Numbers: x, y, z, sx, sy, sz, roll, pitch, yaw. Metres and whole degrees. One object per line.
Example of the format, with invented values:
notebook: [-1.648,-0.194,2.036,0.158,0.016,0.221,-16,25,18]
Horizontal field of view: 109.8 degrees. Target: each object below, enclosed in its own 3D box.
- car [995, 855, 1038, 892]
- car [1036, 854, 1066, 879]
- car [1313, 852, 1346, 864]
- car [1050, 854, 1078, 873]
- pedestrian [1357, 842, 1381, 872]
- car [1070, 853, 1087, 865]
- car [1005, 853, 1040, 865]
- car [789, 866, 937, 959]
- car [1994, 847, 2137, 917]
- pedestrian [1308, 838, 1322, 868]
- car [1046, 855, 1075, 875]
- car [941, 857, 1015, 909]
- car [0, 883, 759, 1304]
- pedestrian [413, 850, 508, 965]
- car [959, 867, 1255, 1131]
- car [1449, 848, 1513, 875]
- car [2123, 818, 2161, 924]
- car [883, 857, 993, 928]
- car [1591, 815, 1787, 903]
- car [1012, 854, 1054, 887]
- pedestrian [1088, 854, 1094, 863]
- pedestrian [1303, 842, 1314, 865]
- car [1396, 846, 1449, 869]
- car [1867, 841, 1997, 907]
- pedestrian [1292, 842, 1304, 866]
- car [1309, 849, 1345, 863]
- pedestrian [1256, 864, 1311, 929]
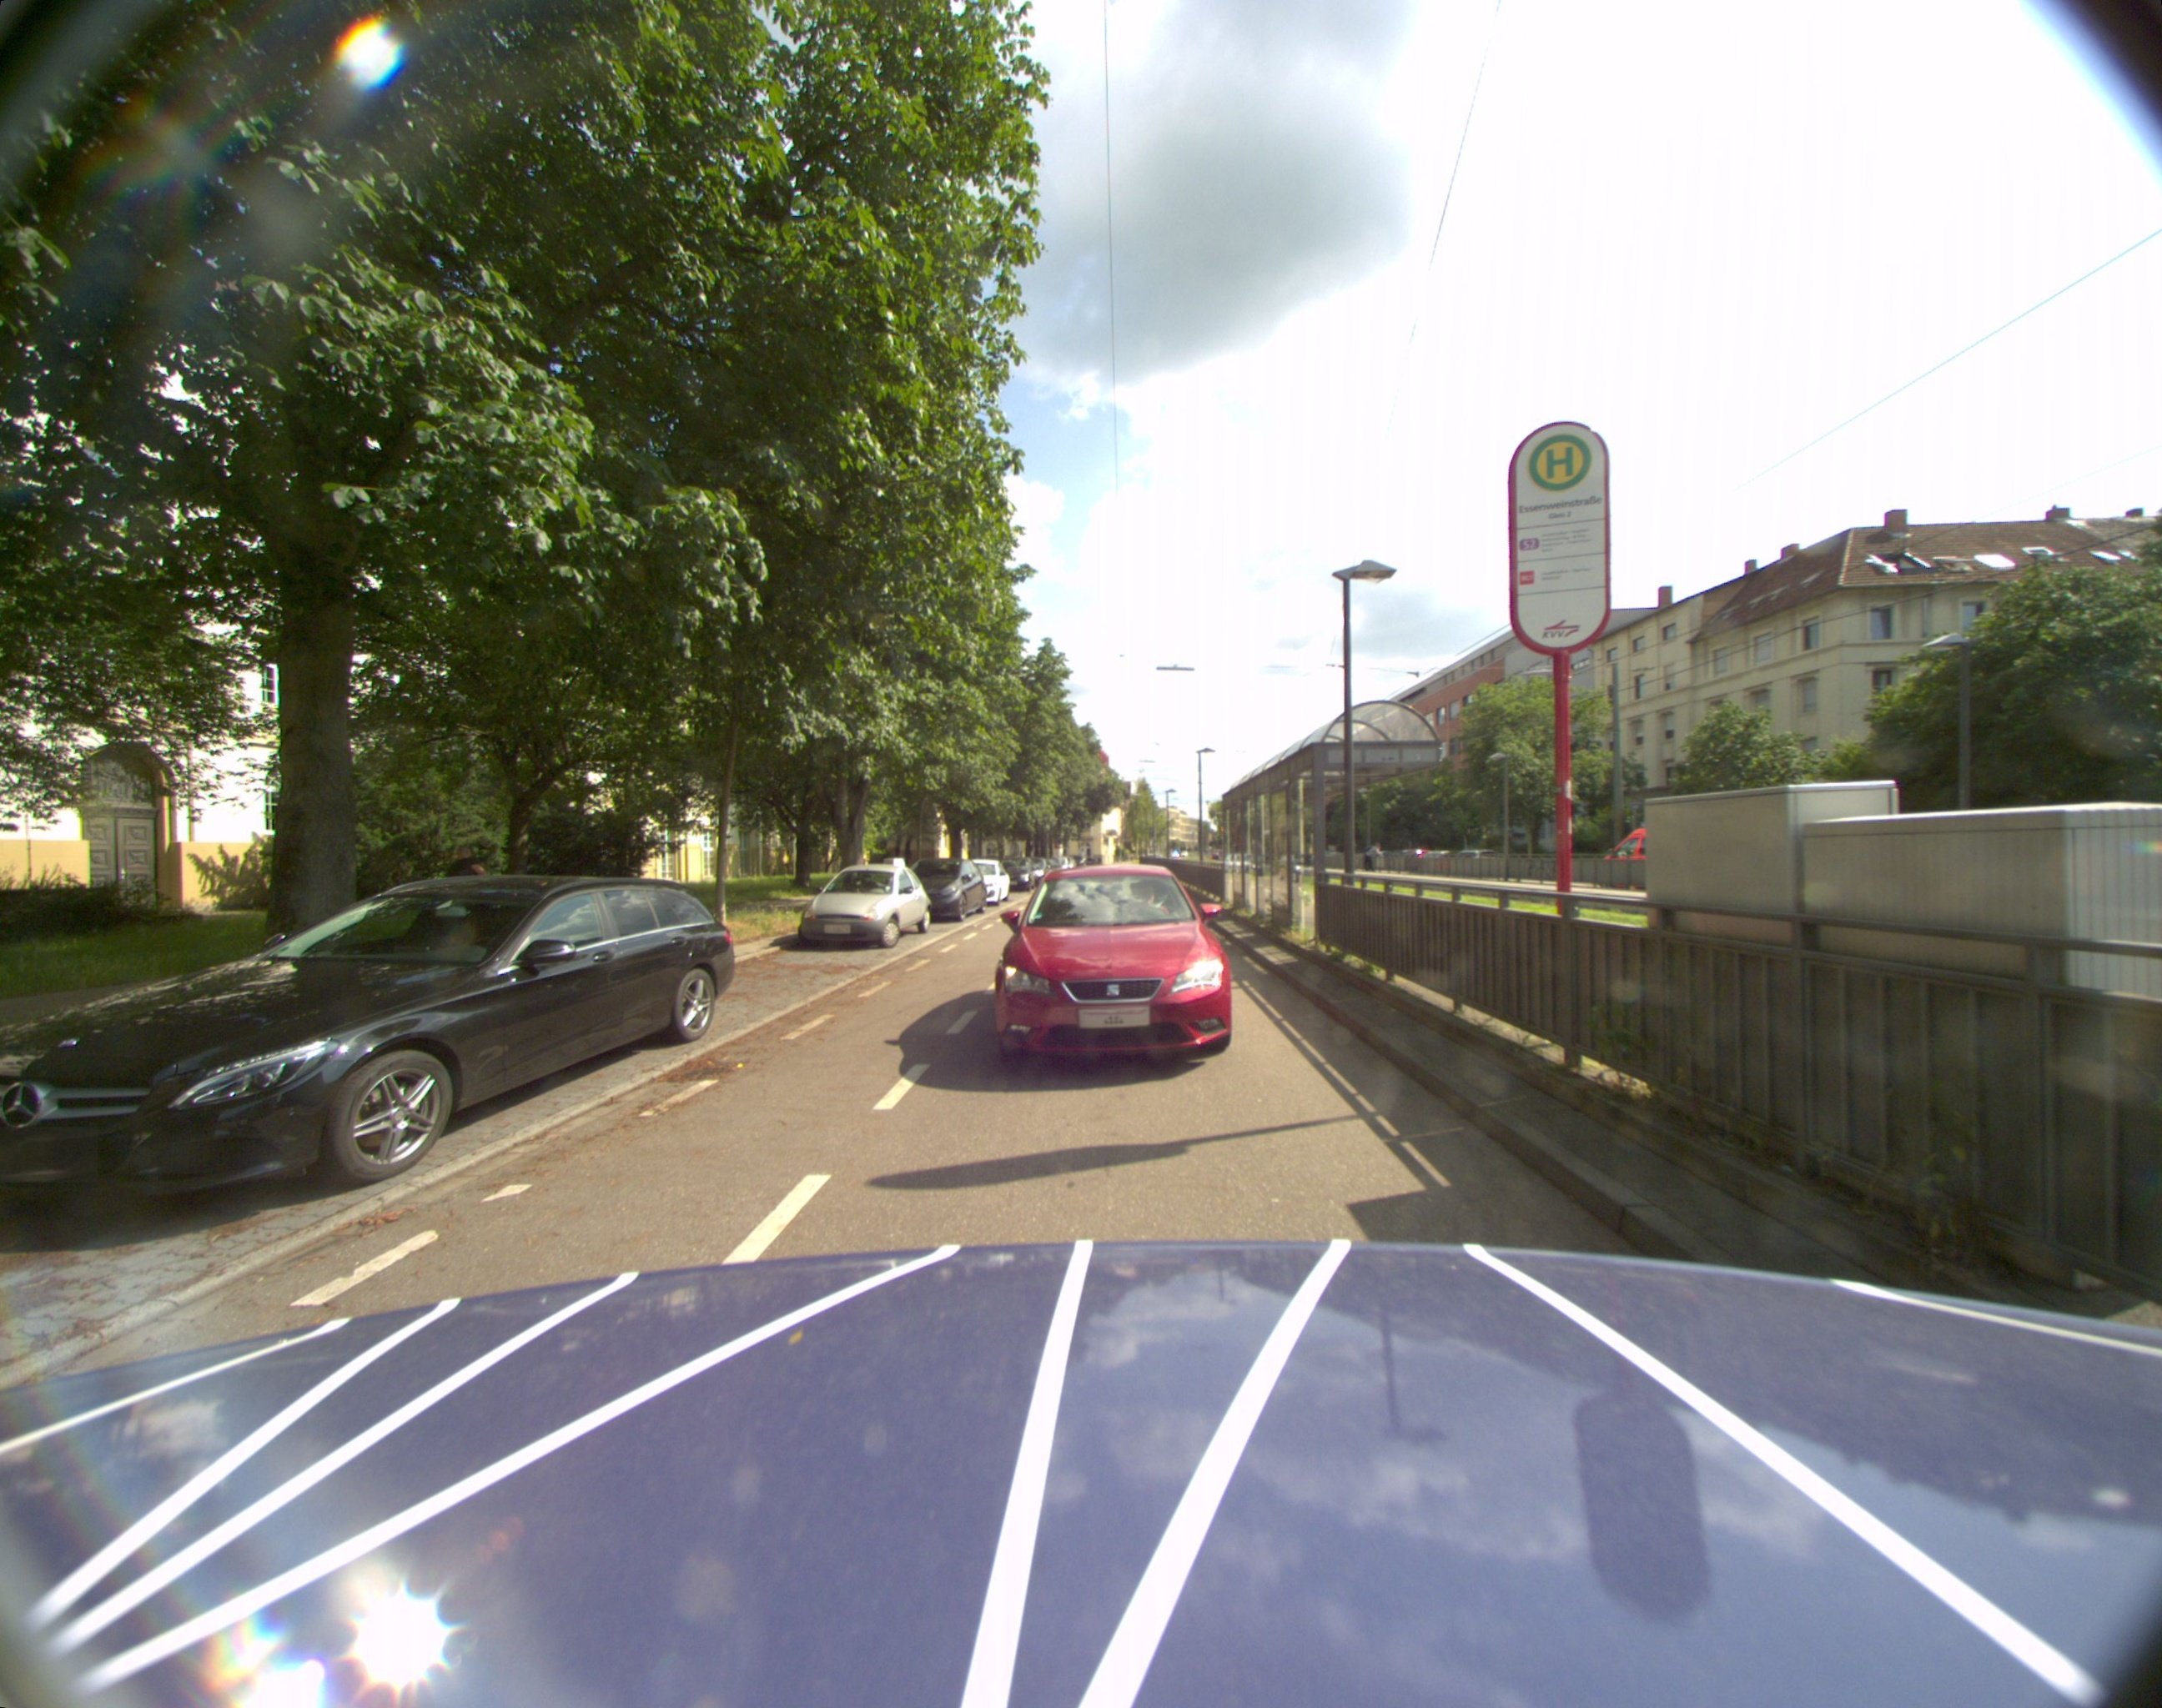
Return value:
car: [-2.831,0.846,34.130,1.559,1.453,3.558,2,1,0]
car: [-1.943,0.794,50.904,1.836,1.458,4.829,1,1,-1]
car: [26.292,0.422,80.312,3.258,1.296,1.600,-1,0,-32]
car: [-1.334,0.723,62.042,1.833,1.433,5.050,2,0,3]
pedestrian: [15.625,0.156,41.276,0.991,1.569,0.798,-1,1,0]
car: [-0.267,0.549,89.272,1.689,1.379,3.924,0,1,3]
car: [-8.578,0.695,111.406,4.827,1.646,1.858,-1,2,13]
car: [-3.965,0.995,14.410,1.594,1.437,3.598,1,1,3]
car: [23.521,0.602,18.128,4.006,1.477,1.606,-1,0,-30]
pedestrian: [15.458,-0.070,50.241,0.752,1.881,0.639,-1,3,5]
car: [-1.477,0.815,56.833,1.639,1.423,4.016,2,0,5]
car: [-3.349,0.886,25.405,1.840,1.515,4.253,1,0,0]
car: [-4.348,1.041,5.414,1.922,1.433,4.797,1,0,2]
pedestrian: [-9.400,0.786,11.538,0.745,1.686,0.767,-1,1,9]
car: [0.253,0.951,6.746,1.790,1.499,4.000,-2,0,3]
car: [24.799,0.445,47.069,4.161,1.556,1.921,-1,1,-38]
car: [22.929,0.292,15.132,3.957,2.058,2.045,-1,0,-28]
car: [-3.570,0.897,19.808,1.729,1.574,4.678,0,0,3]
car: [17.679,0.142,22.497,1.998,2.262,4.834,2,0,2]
car: [-2.425,0.812,39.313,1.694,1.552,4.308,2,0,3]
pedestrian: [1.533,0.646,112.902,0.804,1.238,0.892,-1,2,5]
pedestrian: [16.401,-0.038,54.796,0.608,1.665,0.625,-1,2,3]
car: [25.524,0.235,56.717,4.144,1.630,1.829,-1,1,-37]
car: [23.371,0.501,20.833,4.007,1.630,1.823,-1,-1,-34]
pedestrian: [15.701,-0.022,54.917,0.607,1.744,0.626,0,2,43]
car: [27.154,0.206,83.873,4.007,1.487,1.647,-1,0,-34]
pedestrian: [3.461,0.709,12.959,0.662,1.066,0.725,-1,0,37]
